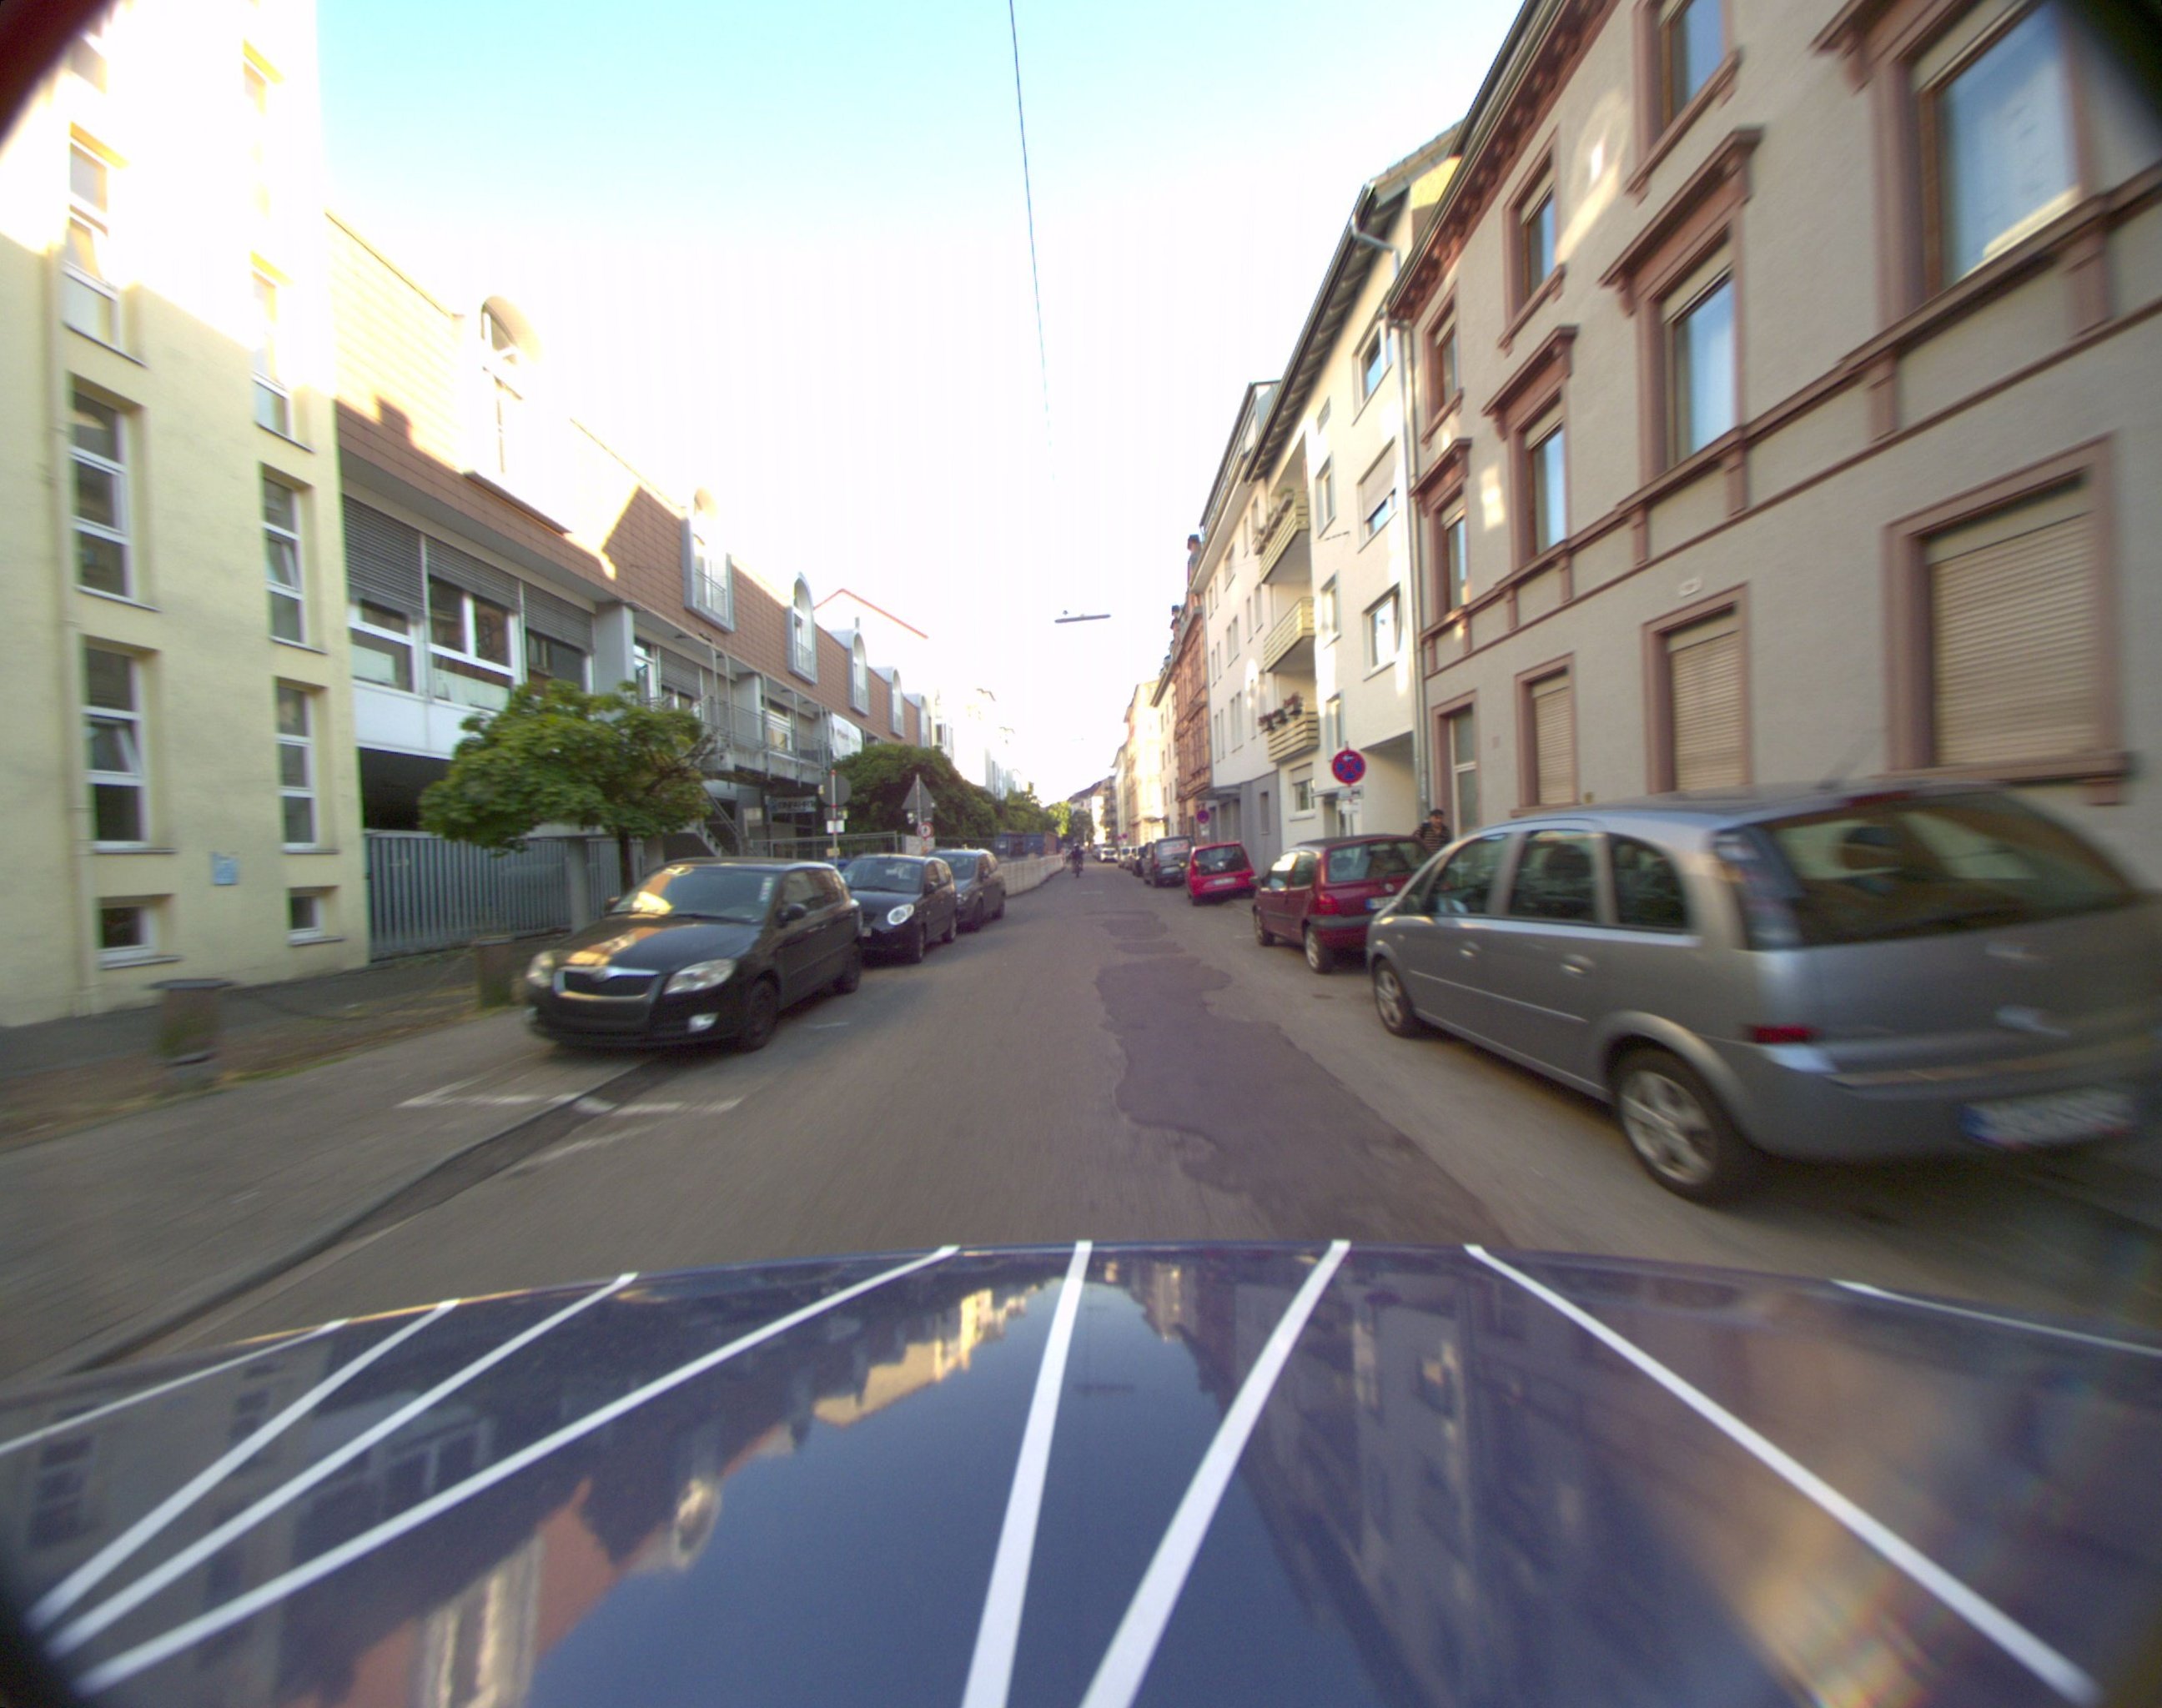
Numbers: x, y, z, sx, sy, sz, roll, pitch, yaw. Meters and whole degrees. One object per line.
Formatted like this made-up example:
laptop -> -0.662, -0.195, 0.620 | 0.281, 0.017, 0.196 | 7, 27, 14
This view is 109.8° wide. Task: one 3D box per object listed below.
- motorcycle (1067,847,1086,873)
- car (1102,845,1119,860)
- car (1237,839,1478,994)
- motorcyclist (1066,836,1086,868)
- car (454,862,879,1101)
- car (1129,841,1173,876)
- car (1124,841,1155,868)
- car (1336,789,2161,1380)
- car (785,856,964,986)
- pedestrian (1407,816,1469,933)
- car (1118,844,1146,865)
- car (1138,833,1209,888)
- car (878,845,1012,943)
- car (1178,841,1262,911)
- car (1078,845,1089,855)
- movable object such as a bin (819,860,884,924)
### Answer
motorcycle -> -0.209, 0.319, 38.601 | 0.806, 1.242, 1.699 | -4, -1, 1
car -> 3.018, -0.198, 77.990 | 1.688, 1.487, 3.844 | 1, 1, 2
car -> 3.202, 0.627, 9.498 | 1.661, 1.440, 3.285 | -6, 1, -1
motorcyclist -> -0.251, -0.095, 38.503 | 0.874, 1.558, 1.000 | -4, -1, 2
car -> -3.271, 0.865, 7.059 | 1.624, 1.477, 4.124 | -1, 1, 1
car -> 3.482, 0.189, 38.410 | 1.744, 1.590, 4.014 | -3, 1, 0
car -> 3.676, 0.022, 48.532 | 1.559, 1.500, 3.597 | -5, 1, 0
car -> 3.033, 0.646, 4.234 | 1.715, 1.635, 3.978 | -5, 1, -1
car -> -2.958, 0.877, 11.706 | 1.626, 1.549, 3.693 | -3, 1, 1
pedestrian -> 5.201, 0.284, 11.091 | 0.496, 1.629, 0.665 | -4, 1, 0
car -> 3.616, 0.012, 54.394 | 1.636, 1.422, 3.554 | -3, 1, -1
car -> 3.446, 0.222, 29.180 | 1.999, 1.848, 4.583 | -3, 1, -1
car -> -2.695, 0.709, 16.127 | 1.753, 1.673, 4.525 | -3, 1, 2
car -> 3.514, 0.494, 19.785 | 1.672, 1.477, 3.606 | -7, 0, 5
car -> 0.534, -0.792, 142.031 | 1.998, 1.783, 3.999 | -3, 1, 1
movable object such as a bin -> -5.361, 0.870, 17.764 | 1.256, 1.368, 0.800 | -5, 1, -25
